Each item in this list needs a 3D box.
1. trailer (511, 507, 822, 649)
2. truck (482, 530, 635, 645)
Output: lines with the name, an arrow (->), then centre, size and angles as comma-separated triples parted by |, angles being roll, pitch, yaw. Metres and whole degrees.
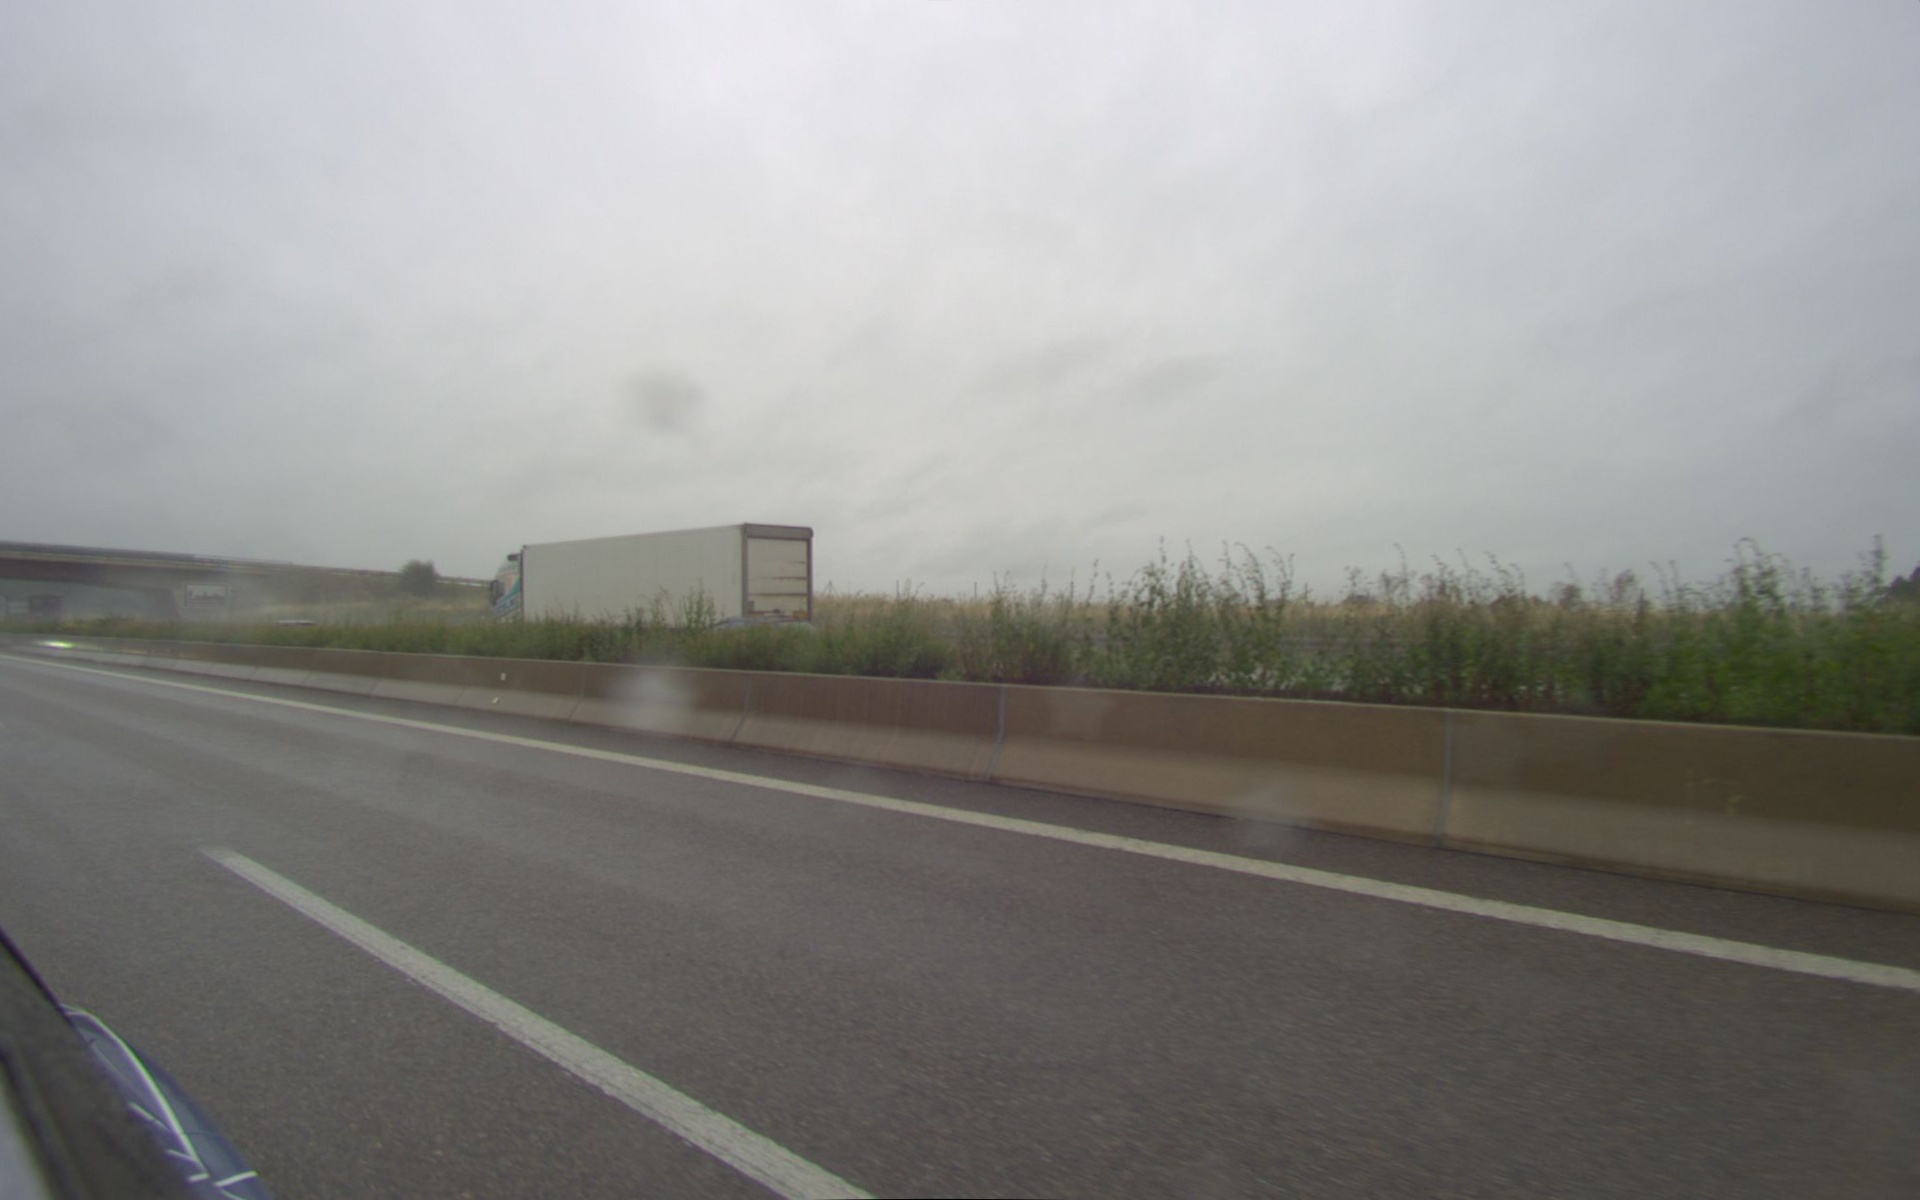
trailer -> -10.479, -0.496, 34.246 | 14.299, 4.012, 2.913 | -1, -1, 42
truck -> -15.393, -0.380, 38.612 | 6.214, 4.024, 2.922 | -1, -1, 41
